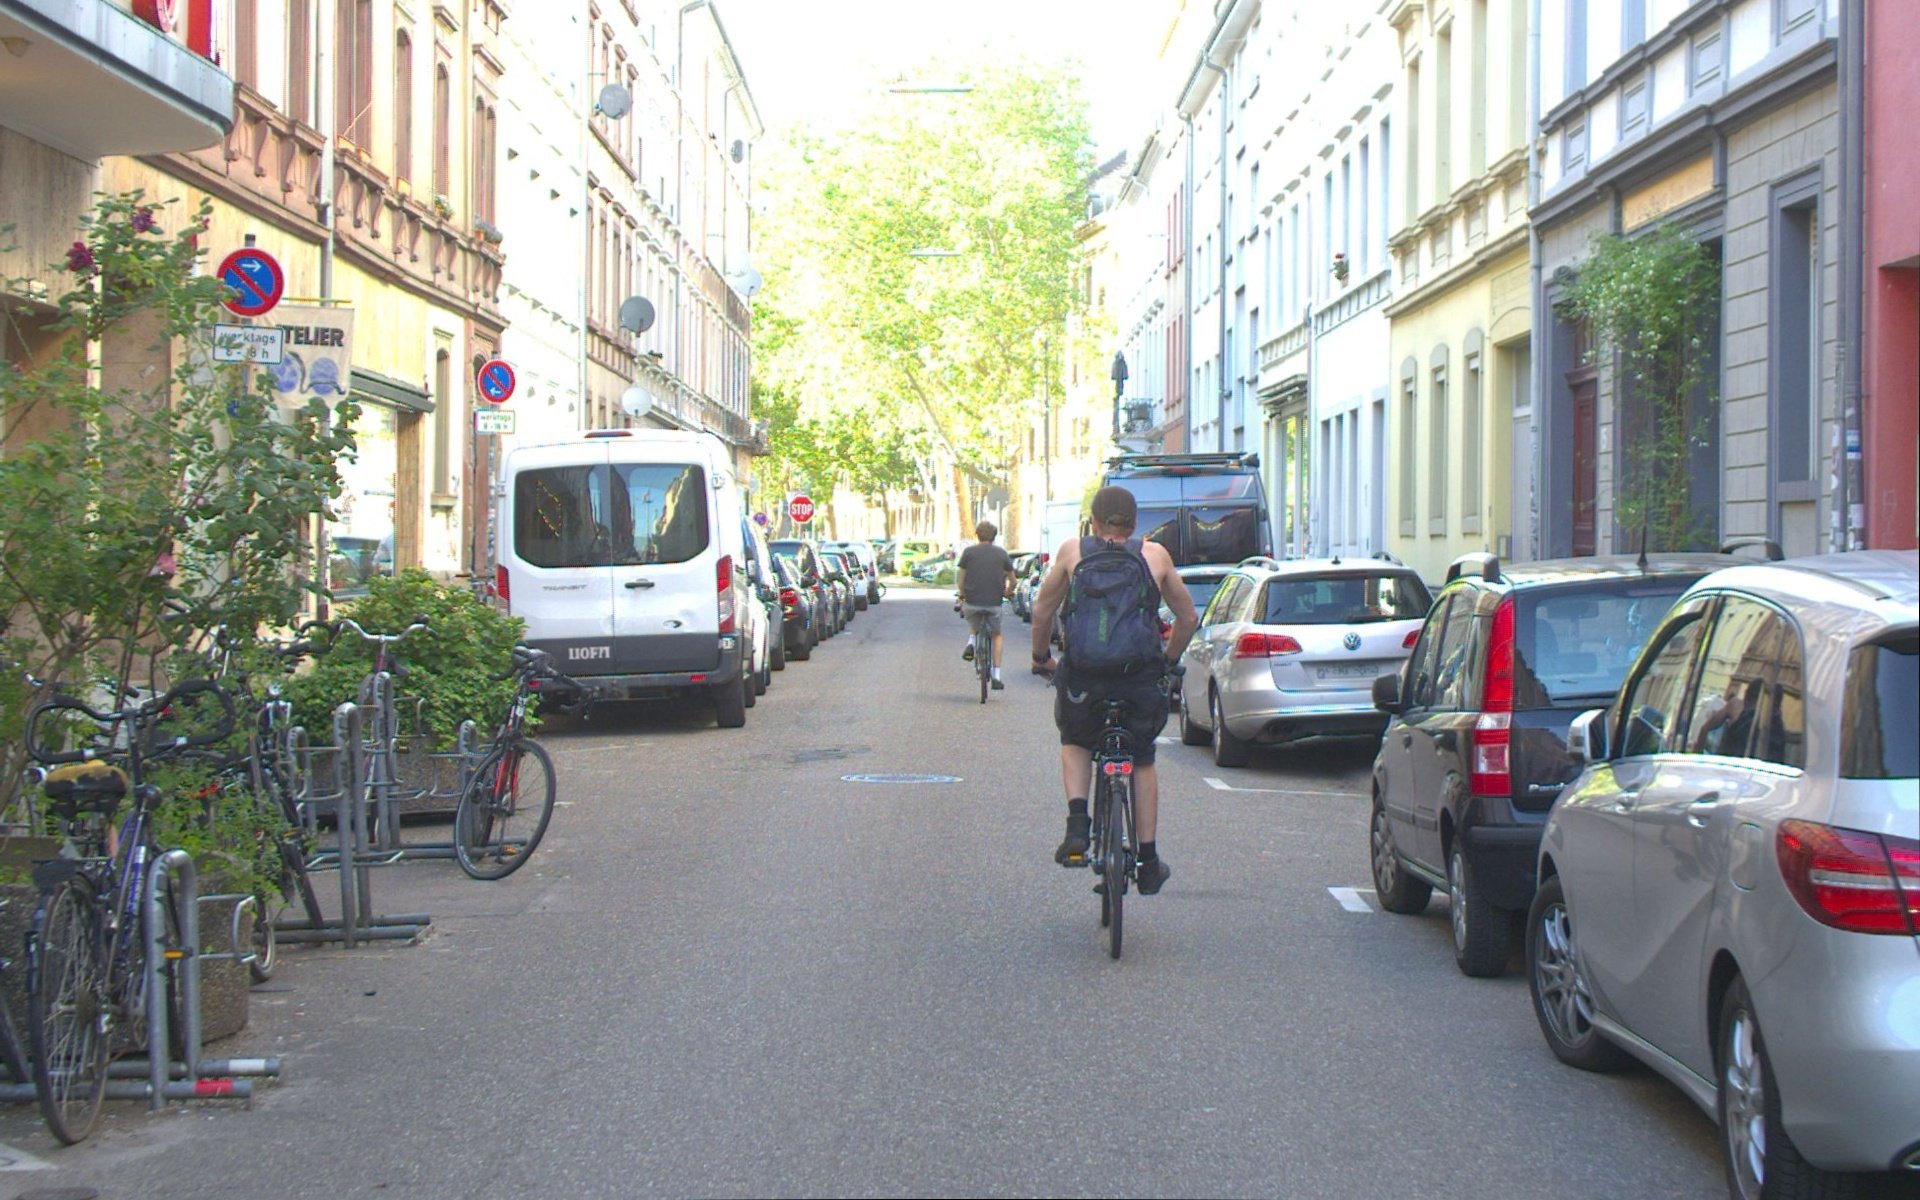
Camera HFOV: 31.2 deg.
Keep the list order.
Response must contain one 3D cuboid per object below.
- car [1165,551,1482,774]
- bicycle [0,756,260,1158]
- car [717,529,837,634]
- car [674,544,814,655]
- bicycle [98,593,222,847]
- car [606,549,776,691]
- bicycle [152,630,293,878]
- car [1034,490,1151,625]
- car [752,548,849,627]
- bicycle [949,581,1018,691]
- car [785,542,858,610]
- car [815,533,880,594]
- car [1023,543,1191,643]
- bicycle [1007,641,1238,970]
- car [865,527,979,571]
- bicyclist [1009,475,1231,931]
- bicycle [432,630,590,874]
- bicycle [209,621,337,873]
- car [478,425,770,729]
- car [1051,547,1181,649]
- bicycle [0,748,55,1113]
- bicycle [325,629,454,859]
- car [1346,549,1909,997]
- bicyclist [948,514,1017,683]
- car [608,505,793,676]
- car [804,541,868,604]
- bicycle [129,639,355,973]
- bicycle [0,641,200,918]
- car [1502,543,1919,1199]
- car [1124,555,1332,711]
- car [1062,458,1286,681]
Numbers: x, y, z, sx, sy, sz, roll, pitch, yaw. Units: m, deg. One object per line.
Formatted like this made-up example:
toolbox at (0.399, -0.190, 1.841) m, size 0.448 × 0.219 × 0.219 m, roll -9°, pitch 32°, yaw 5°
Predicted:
car at (2.644, 0.402, 25.981) m, size 1.786 × 1.449 × 4.547 m, roll -2°, pitch 1°, yaw -1°
bicycle at (-2.234, 0.924, 9.284) m, size 0.390 × 0.913 × 1.393 m, roll 0°, pitch 1°, yaw 0°
car at (-3.123, -0.335, 59.330) m, size 1.801 × 1.692 × 4.000 m, roll -2°, pitch 1°, yaw 0°
car at (-2.985, -0.043, 48.311) m, size 1.862 × 1.435 × 4.646 m, roll 0°, pitch 2°, yaw -2°
bicycle at (-3.956, 0.567, 17.060) m, size 0.339 × 1.170 × 1.490 m, roll 2°, pitch 1°, yaw -4°
car at (-2.849, 0.176, 37.023) m, size 1.645 × 1.442 × 3.840 m, roll 0°, pitch 1°, yaw -2°
bicycle at (-3.385, 0.687, 15.843) m, size 0.417 × 1.044 × 1.318 m, roll 2°, pitch 1°, yaw -4°
car at (2.590, -0.849, 67.699) m, size 2.204 × 2.542 × 6.036 m, roll 0°, pitch 1°, yaw 2°
car at (-2.960, -0.254, 64.310) m, size 1.592 × 1.435 × 3.654 m, roll 0°, pitch 1°, yaw 1°
bicycle at (0.221, 0.343, 34.075) m, size 0.664 × 1.034 × 1.959 m, roll 0°, pitch 1°, yaw 0°
car at (-3.182, -0.572, 79.305) m, size 1.604 × 1.525 × 3.379 m, roll -1°, pitch 1°, yaw -2°
car at (-3.206, -1.056, 98.879) m, size 1.787 × 1.731 × 3.876 m, roll 0°, pitch 1°, yaw -1°
car at (2.396, -0.152, 57.213) m, size 1.811 × 1.473 × 4.609 m, roll -3°, pitch 2°, yaw -10°
bicycle at (0.597, 0.751, 13.347) m, size 0.740 × 1.097 × 2.042 m, roll 2°, pitch 1°, yaw -1°
car at (-1.544, -2.056, 138.278) m, size 4.468 × 1.753 × 1.867 m, roll 0°, pitch 1°, yaw -4°
bicyclist at (0.605, 0.376, 13.358) m, size 0.740 × 1.673 × 1.116 m, roll 2°, pitch 1°, yaw -1°
bicycle at (-2.166, 0.700, 16.443) m, size 0.460 × 1.044 × 1.751 m, roll 2°, pitch 1°, yaw -16°
bicycle at (-3.477, 0.719, 17.481) m, size 0.399 × 1.170 × 1.670 m, roll 2°, pitch 1°, yaw -4°
car at (-2.901, -0.241, 30.961) m, size 2.168 × 2.443 × 5.922 m, roll -1°, pitch 1°, yaw -2°
car at (2.337, -0.056, 52.431) m, size 1.746 × 1.480 × 4.243 m, roll 0°, pitch 1°, yaw 0°
bicycle at (-2.840, 0.903, 8.934) m, size 0.554 × 0.941 × 1.571 m, roll 0°, pitch 1°, yaw 0°
bicycle at (-2.890, 0.703, 17.509) m, size 0.442 × 1.044 × 1.865 m, roll 2°, pitch 1°, yaw -4°
car at (2.561, 0.589, 13.920) m, size 1.602 × 1.534 × 3.450 m, roll -2°, pitch 1°, yaw 1°
bicyclist at (0.221, -0.019, 34.066) m, size 0.669 × 1.653 × 0.877 m, roll 0°, pitch 1°, yaw 0°
car at (-3.077, -0.145, 41.615) m, size 1.827 × 1.885 × 4.614 m, roll -2°, pitch 1°, yaw 0°
car at (-3.149, -0.714, 86.680) m, size 1.544 × 1.545 × 3.466 m, roll 0°, pitch 1°, yaw -3°
bicycle at (-2.666, 0.729, 12.912) m, size 0.546 × 1.090 × 1.882 m, roll 2°, pitch 1°, yaw -4°
bicycle at (-3.557, 0.717, 14.259) m, size 0.573 × 1.042 × 1.410 m, roll 1°, pitch 1°, yaw -4°
car at (2.620, 0.636, 9.104) m, size 1.746 × 1.550 × 4.171 m, roll 0°, pitch 1°, yaw 1°
car at (2.654, 0.287, 34.878) m, size 1.747 × 1.439 × 4.172 m, roll 1°, pitch 1°, yaw 0°
car at (2.457, -0.393, 41.101) m, size 2.175 × 2.417 × 6.310 m, roll -1°, pitch 1°, yaw -1°
